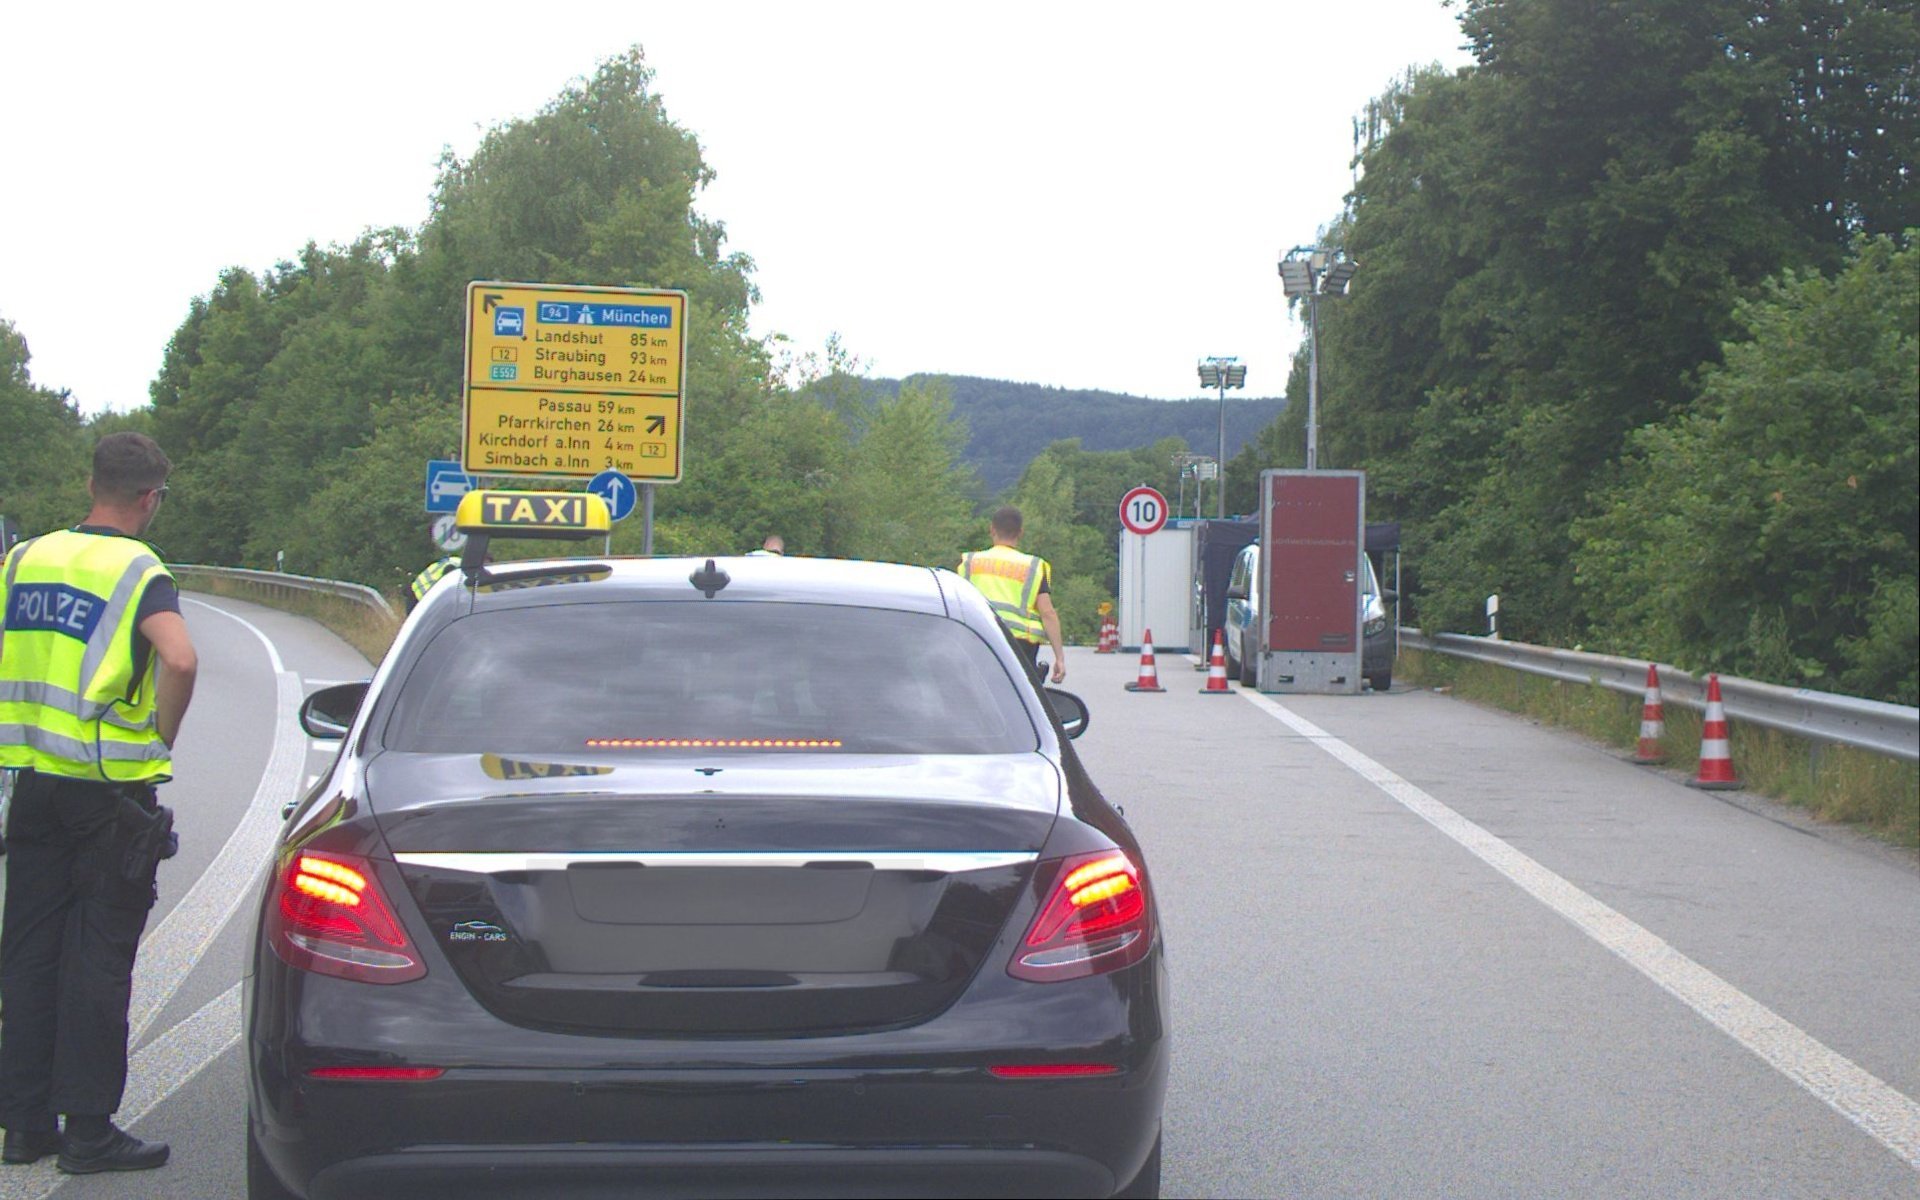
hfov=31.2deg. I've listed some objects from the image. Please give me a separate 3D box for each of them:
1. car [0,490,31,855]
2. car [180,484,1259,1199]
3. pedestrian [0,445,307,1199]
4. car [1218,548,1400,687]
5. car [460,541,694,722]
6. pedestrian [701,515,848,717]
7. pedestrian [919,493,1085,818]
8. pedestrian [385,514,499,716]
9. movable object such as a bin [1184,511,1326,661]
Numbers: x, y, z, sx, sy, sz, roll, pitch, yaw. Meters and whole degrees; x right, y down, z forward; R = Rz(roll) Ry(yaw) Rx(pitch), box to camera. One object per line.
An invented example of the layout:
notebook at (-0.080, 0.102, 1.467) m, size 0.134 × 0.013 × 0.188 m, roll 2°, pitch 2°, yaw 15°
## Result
car at (-5.398, 0.362, 15.020) m, size 1.868 × 1.737 × 4.009 m, roll 0°, pitch 1°, yaw -4°
car at (-0.605, 0.566, 8.130) m, size 1.855 × 1.589 × 4.376 m, roll 0°, pitch 1°, yaw -5°
pedestrian at (-2.098, 0.511, 8.066) m, size 0.761 × 1.712 × 0.816 m, roll 1°, pitch 1°, yaw 37°
car at (4.582, 0.185, 45.798) m, size 1.916 × 1.672 × 5.083 m, roll 2°, pitch 1°, yaw 1°
car at (-3.352, 0.228, 30.783) m, size 1.855 × 1.493 × 4.257 m, roll 0°, pitch 1°, yaw -3°
pedestrian at (-1.587, 0.133, 29.400) m, size 0.908 × 1.692 × 0.914 m, roll 0°, pitch 0°, yaw -32°
pedestrian at (0.249, 0.306, 19.821) m, size 0.813 × 1.824 × 0.809 m, roll 0°, pitch 1°, yaw 12°
pedestrian at (-4.607, 0.127, 30.625) m, size 0.910 × 1.763 × 0.912 m, roll 1°, pitch 1°, yaw -3°
movable object such as a bin at (4.641, -0.245, 54.637) m, size 1.993 × 2.272 × 4.168 m, roll 1°, pitch 1°, yaw 2°
